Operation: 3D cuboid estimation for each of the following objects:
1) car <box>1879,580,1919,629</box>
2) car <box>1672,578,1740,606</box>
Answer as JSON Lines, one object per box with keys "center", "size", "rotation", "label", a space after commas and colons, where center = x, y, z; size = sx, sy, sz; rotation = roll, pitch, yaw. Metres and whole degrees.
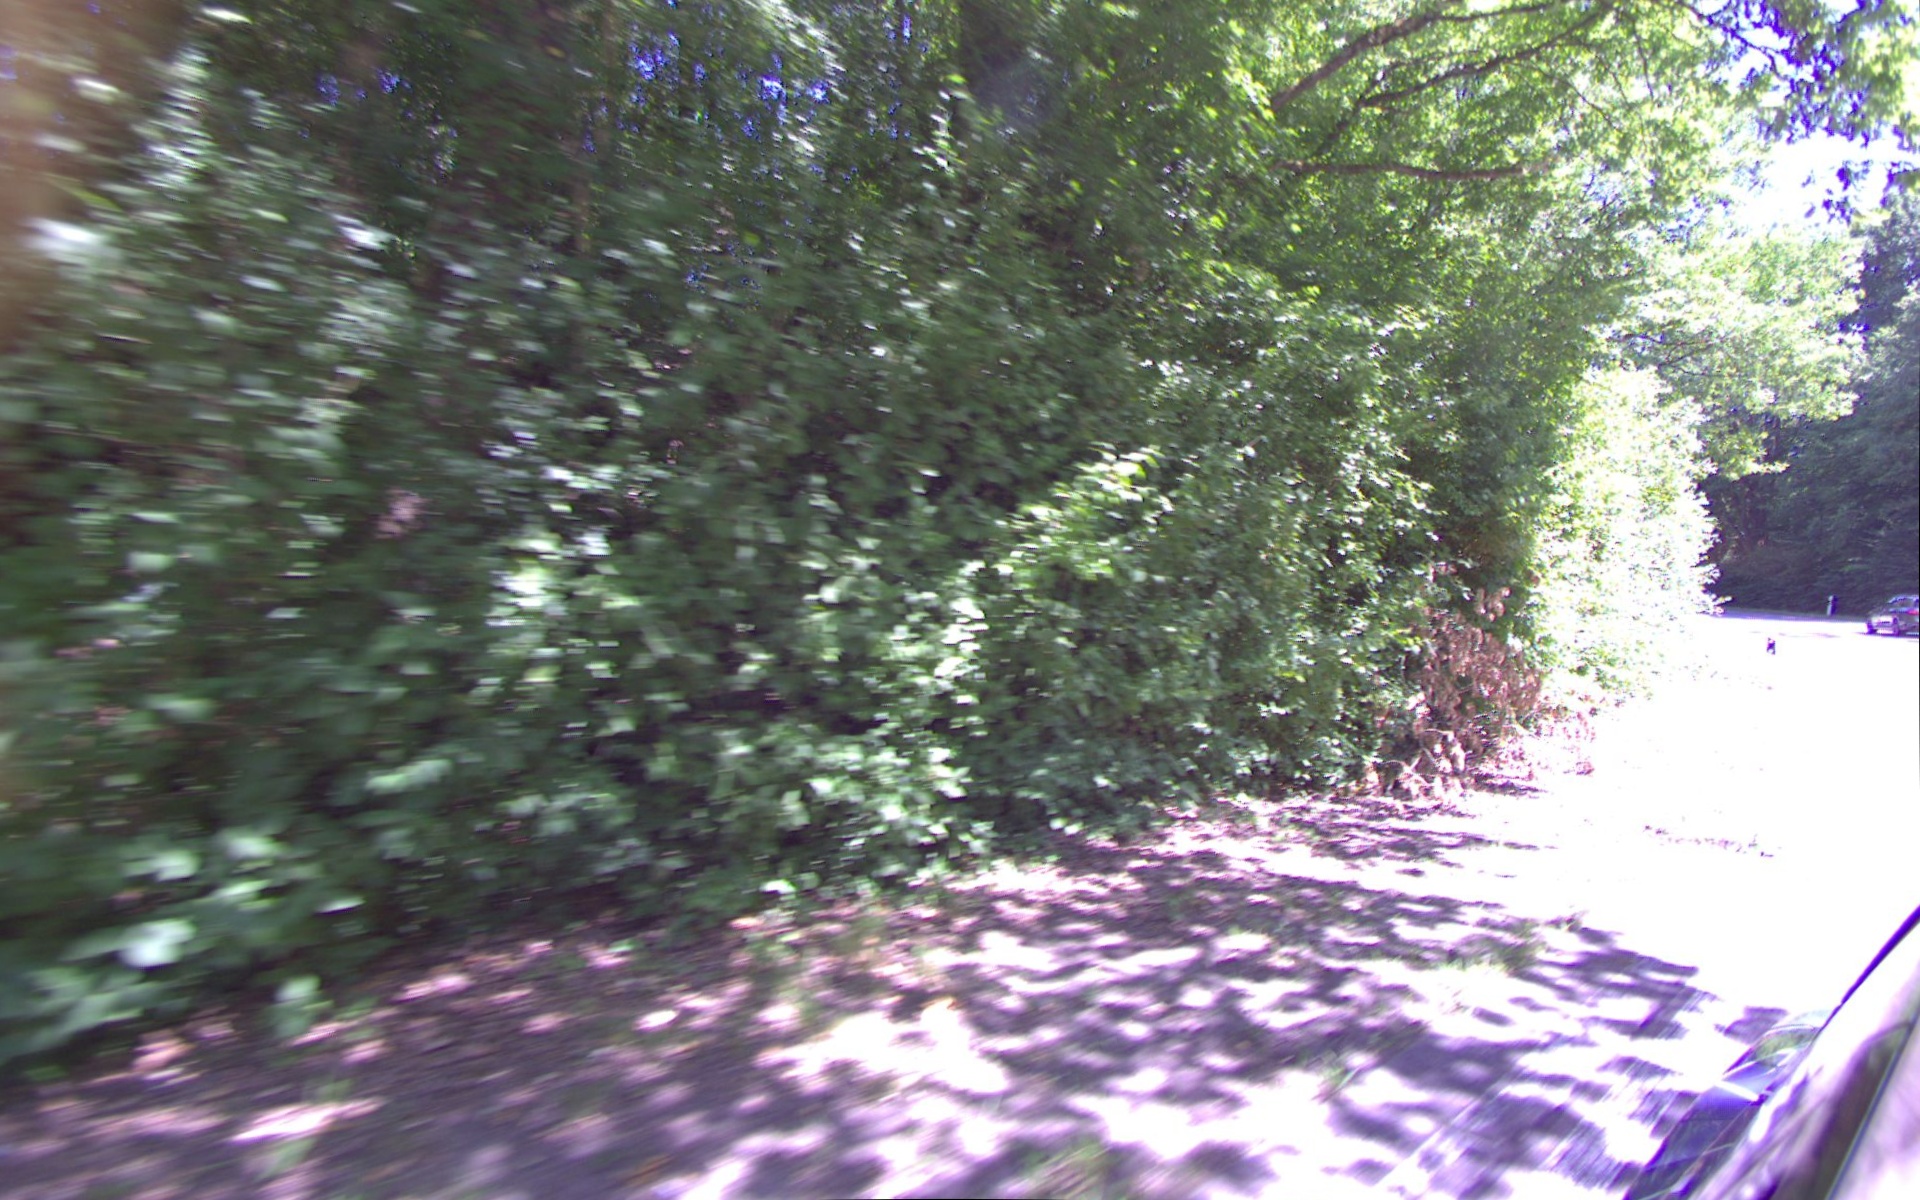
{"center": [33.034, 0.128, 34.341], "size": [1.747, 1.593, 4.323], "rotation": [1, 2, 29], "label": "car"}
{"center": [44.327, -0.526, 60.248], "size": [1.828, 1.504, 4.737], "rotation": [2, 3, 19], "label": "car"}
